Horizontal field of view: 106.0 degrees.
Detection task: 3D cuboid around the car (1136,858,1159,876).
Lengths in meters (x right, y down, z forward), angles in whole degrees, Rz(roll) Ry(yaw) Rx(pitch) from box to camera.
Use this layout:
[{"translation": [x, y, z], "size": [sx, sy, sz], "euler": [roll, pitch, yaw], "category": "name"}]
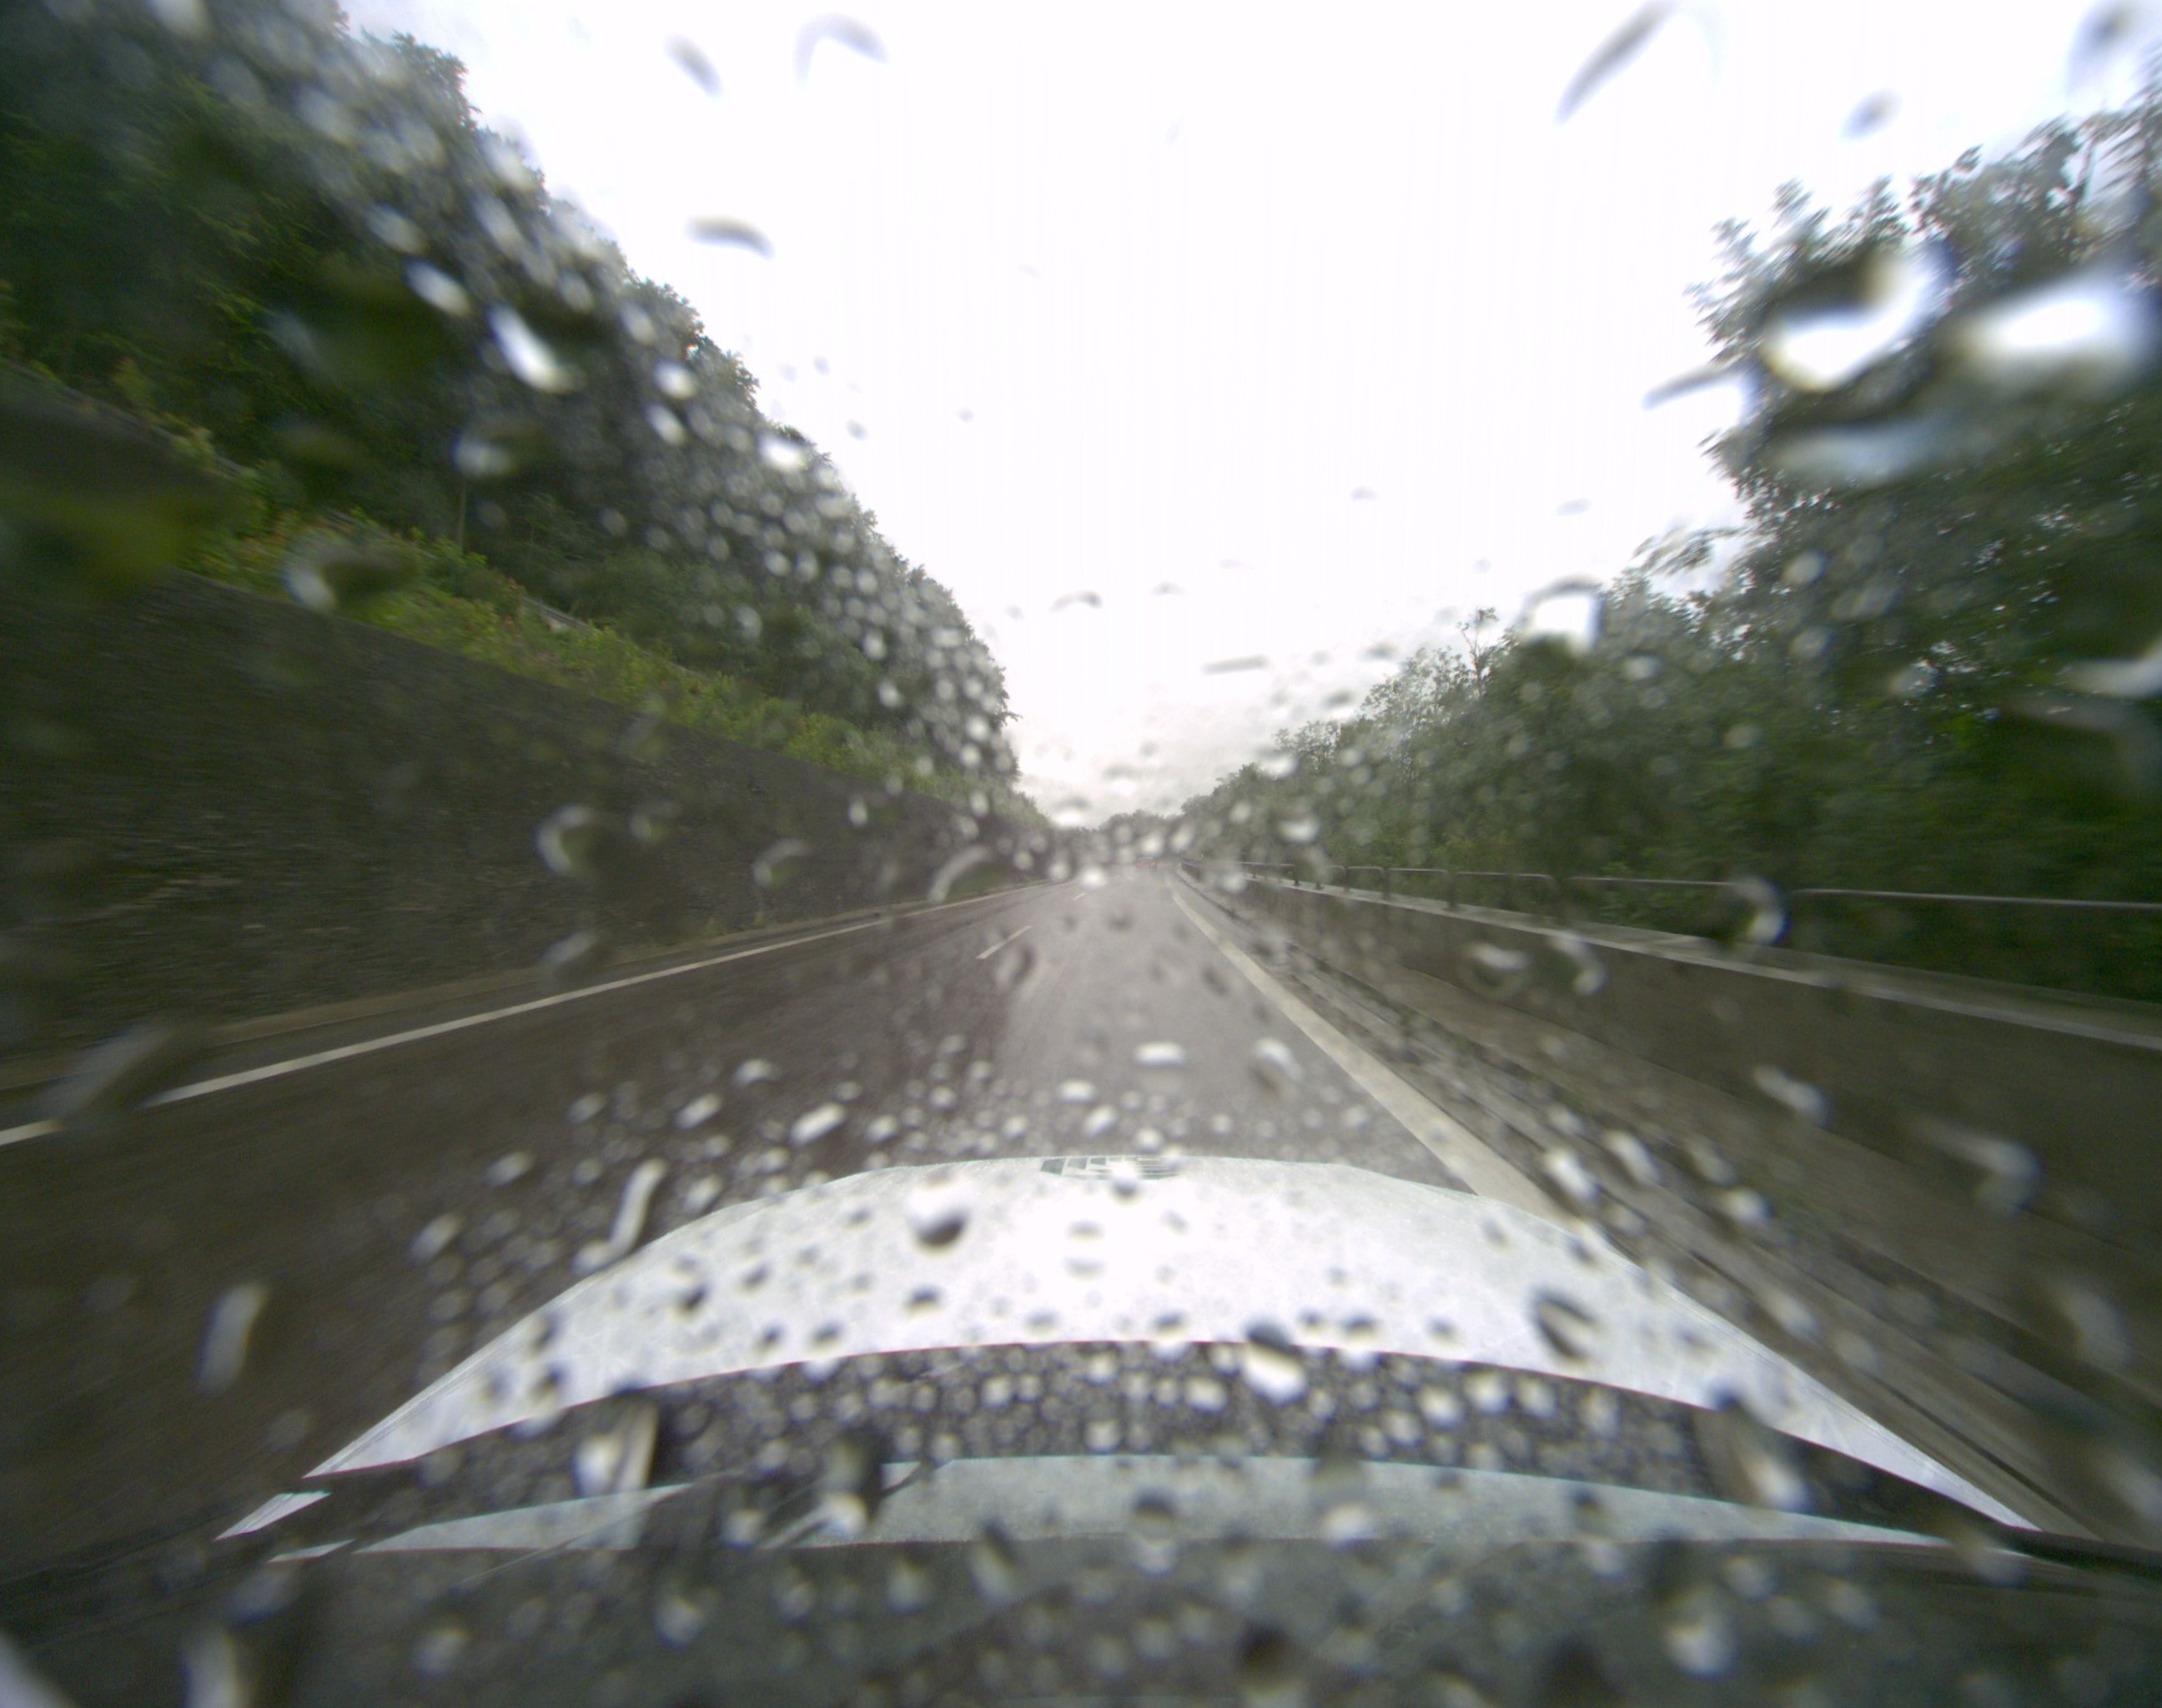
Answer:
[{"translation": [5.853, 1.152, 71.708], "size": [1.895, 1.499, 4.004], "euler": [-2, -1, 4], "category": "car"}]
